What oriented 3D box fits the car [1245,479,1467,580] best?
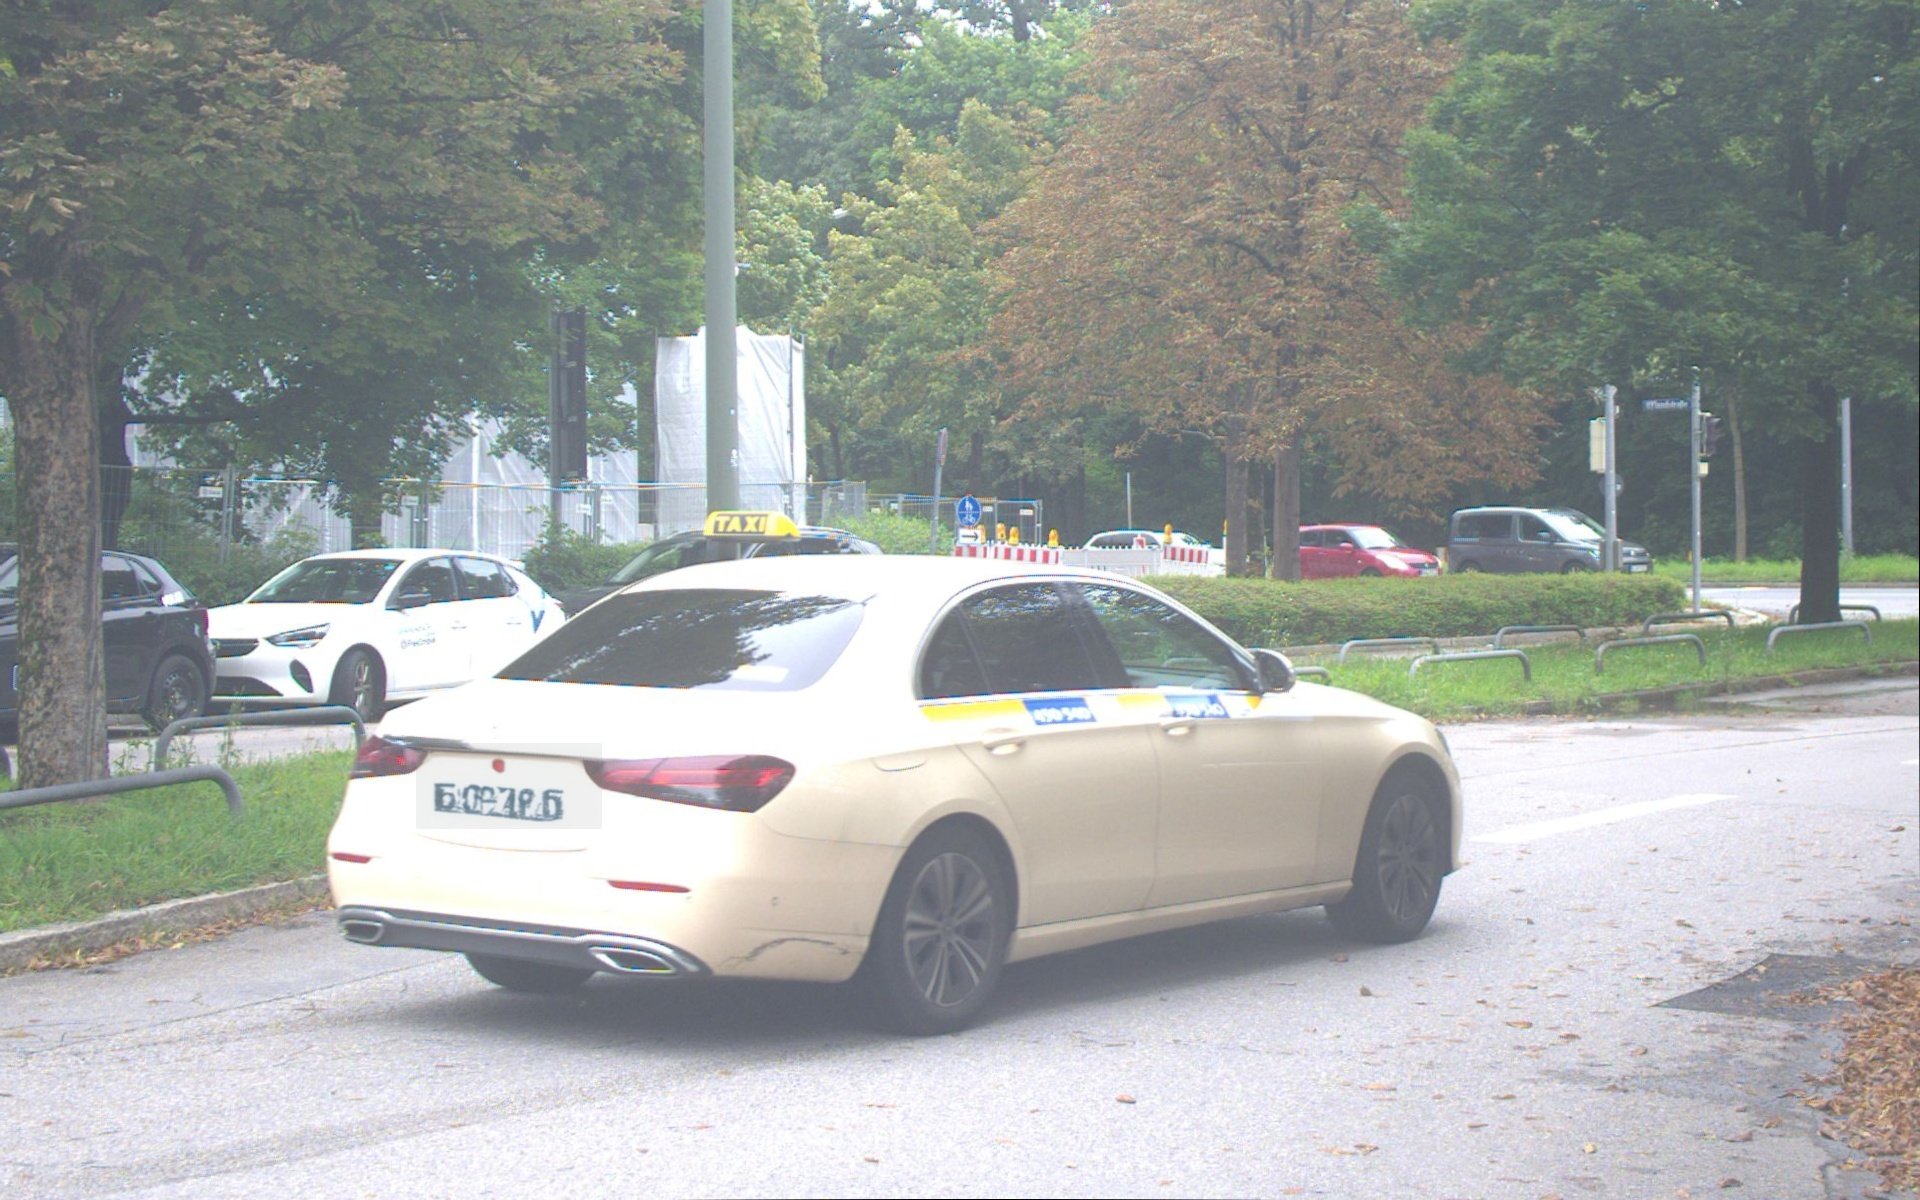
[{"bbox_3d":[8.073,-1.437,70.309,4.155,2.007,1.995,1,1,44],"label":"car"}]

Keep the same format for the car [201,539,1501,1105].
[{"bbox_3d":[-0.118,0.564,11.905,1.892,1.540,4.843,1,1,37],"label":"car"}]

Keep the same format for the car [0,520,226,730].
[{"bbox_3d":[-7.247,0.170,24.646,1.837,1.456,4.000,0,1,25],"label":"car"}]

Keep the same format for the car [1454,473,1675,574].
[{"bbox_3d":[12.277,-1.551,69.979,3.997,2.007,1.995,1,1,44],"label":"car"}]

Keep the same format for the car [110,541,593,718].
[{"bbox_3d":[-5.017,0.204,28.929,1.799,1.379,4.212,0,1,28],"label":"car"}]

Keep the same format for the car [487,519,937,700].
[{"bbox_3d":[-2.289,0.113,32.850,1.889,1.601,4.387,0,-1,36],"label":"car"}]
